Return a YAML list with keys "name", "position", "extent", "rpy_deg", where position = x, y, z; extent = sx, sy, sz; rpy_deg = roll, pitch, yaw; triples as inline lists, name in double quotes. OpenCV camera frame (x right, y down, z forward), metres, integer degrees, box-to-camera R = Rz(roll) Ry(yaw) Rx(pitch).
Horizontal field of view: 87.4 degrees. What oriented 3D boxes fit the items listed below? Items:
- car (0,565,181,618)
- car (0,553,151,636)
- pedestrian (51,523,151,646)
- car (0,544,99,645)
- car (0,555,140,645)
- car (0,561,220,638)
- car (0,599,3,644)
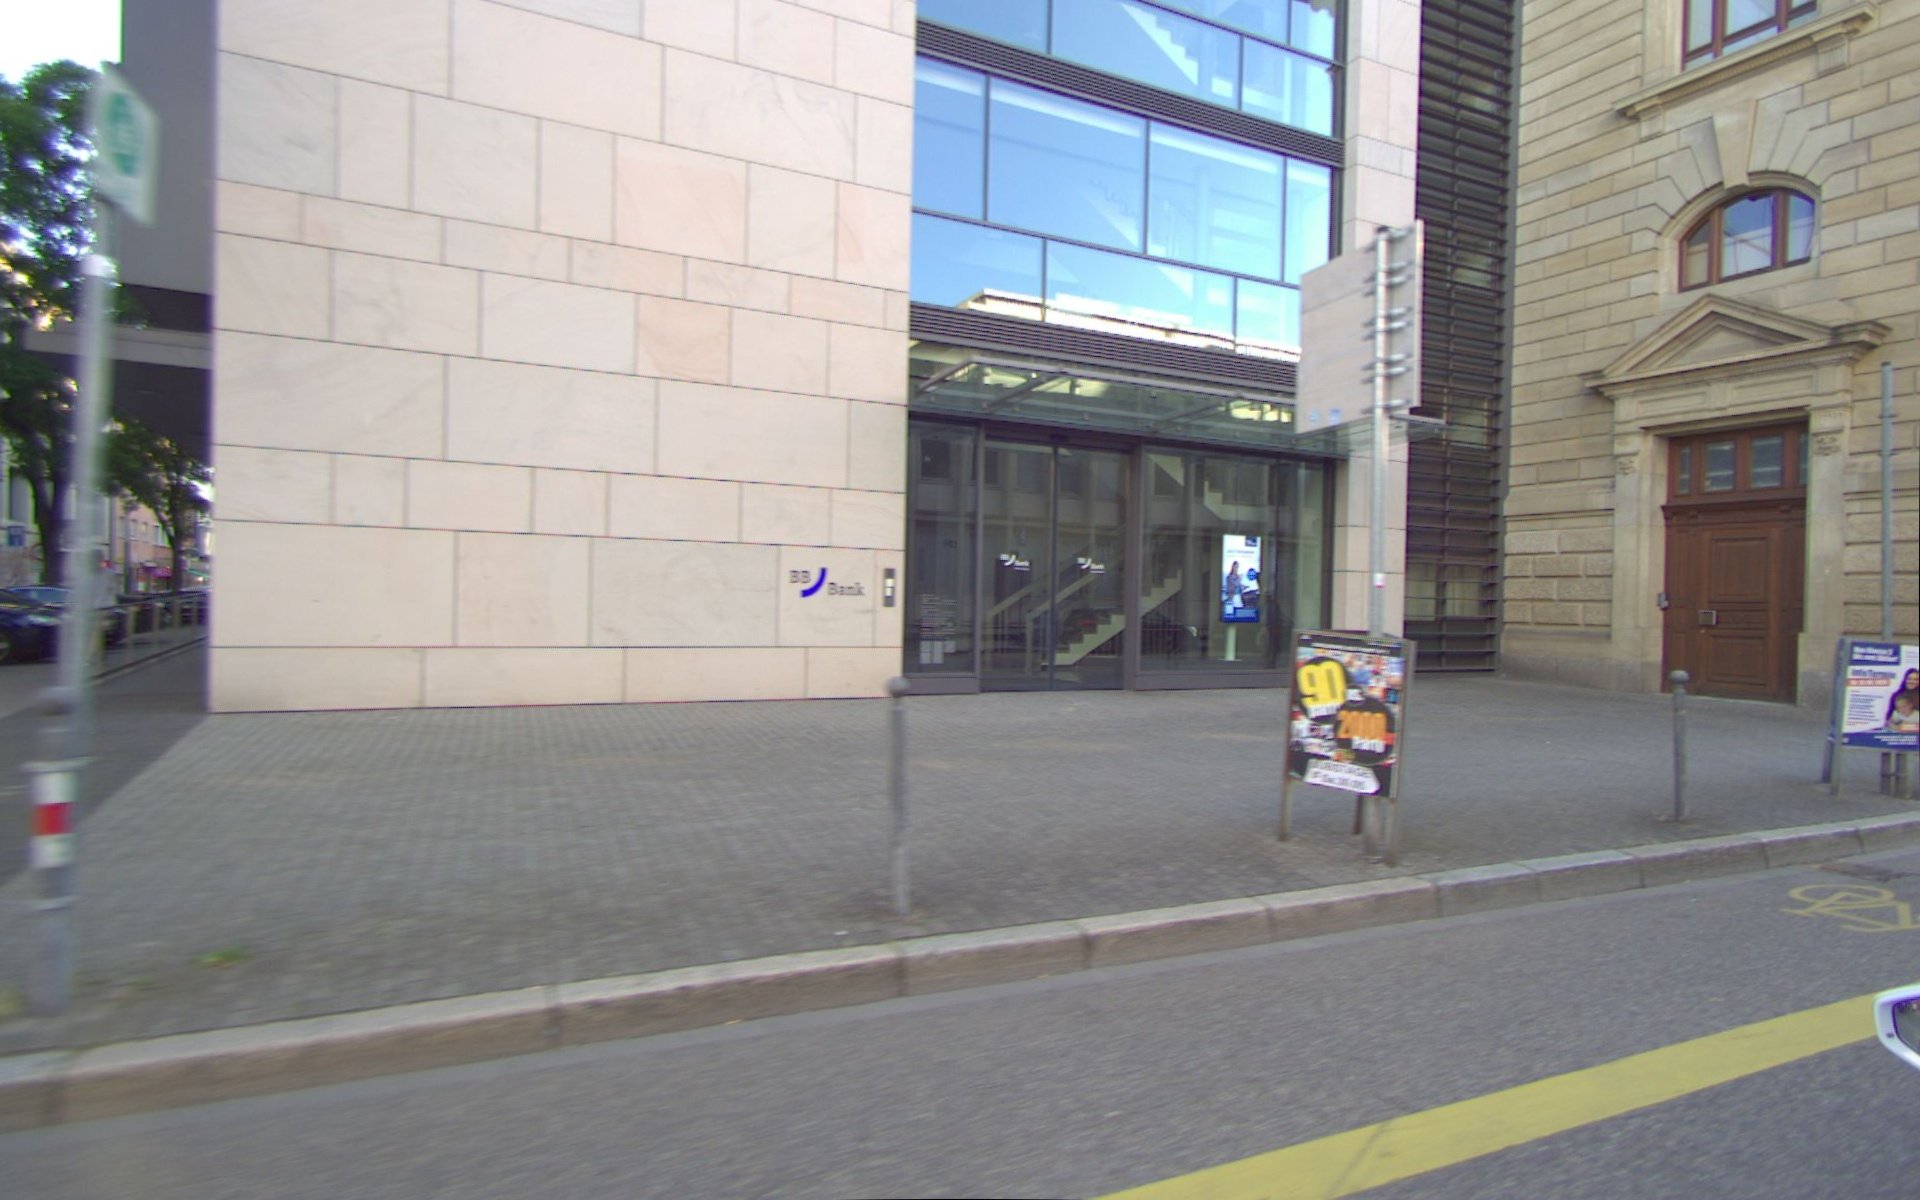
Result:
- name: "car"
  position: [-28.904, -0.293, 32.977]
  extent: [4.964, 1.520, 1.983]
  rpy_deg: [-3, 2, -32]
- name: "car"
  position: [-19.032, -0.055, 19.418]
  extent: [4.964, 1.520, 1.983]
  rpy_deg: [-3, 2, -32]
- name: "pedestrian"
  position: [-12.605, -0.232, 14.780]
  extent: [0.897, 1.729, 0.828]
  rpy_deg: [-2, 1, -28]
- name: "car"
  position: [-16.399, -0.006, 15.054]
  extent: [4.964, 1.520, 1.983]
  rpy_deg: [-3, 2, -32]
- name: "car"
  position: [-17.831, 0.058, 17.676]
  extent: [4.964, 1.520, 1.983]
  rpy_deg: [-3, 2, -32]
- name: "car"
  position: [-19.775, -0.021, 22.448]
  extent: [4.964, 1.520, 1.983]
  rpy_deg: [-3, 2, -32]
- name: "car"
  position: [-15.765, -0.004, 12.654]
  extent: [4.964, 1.520, 1.983]
  rpy_deg: [-3, 2, -32]
